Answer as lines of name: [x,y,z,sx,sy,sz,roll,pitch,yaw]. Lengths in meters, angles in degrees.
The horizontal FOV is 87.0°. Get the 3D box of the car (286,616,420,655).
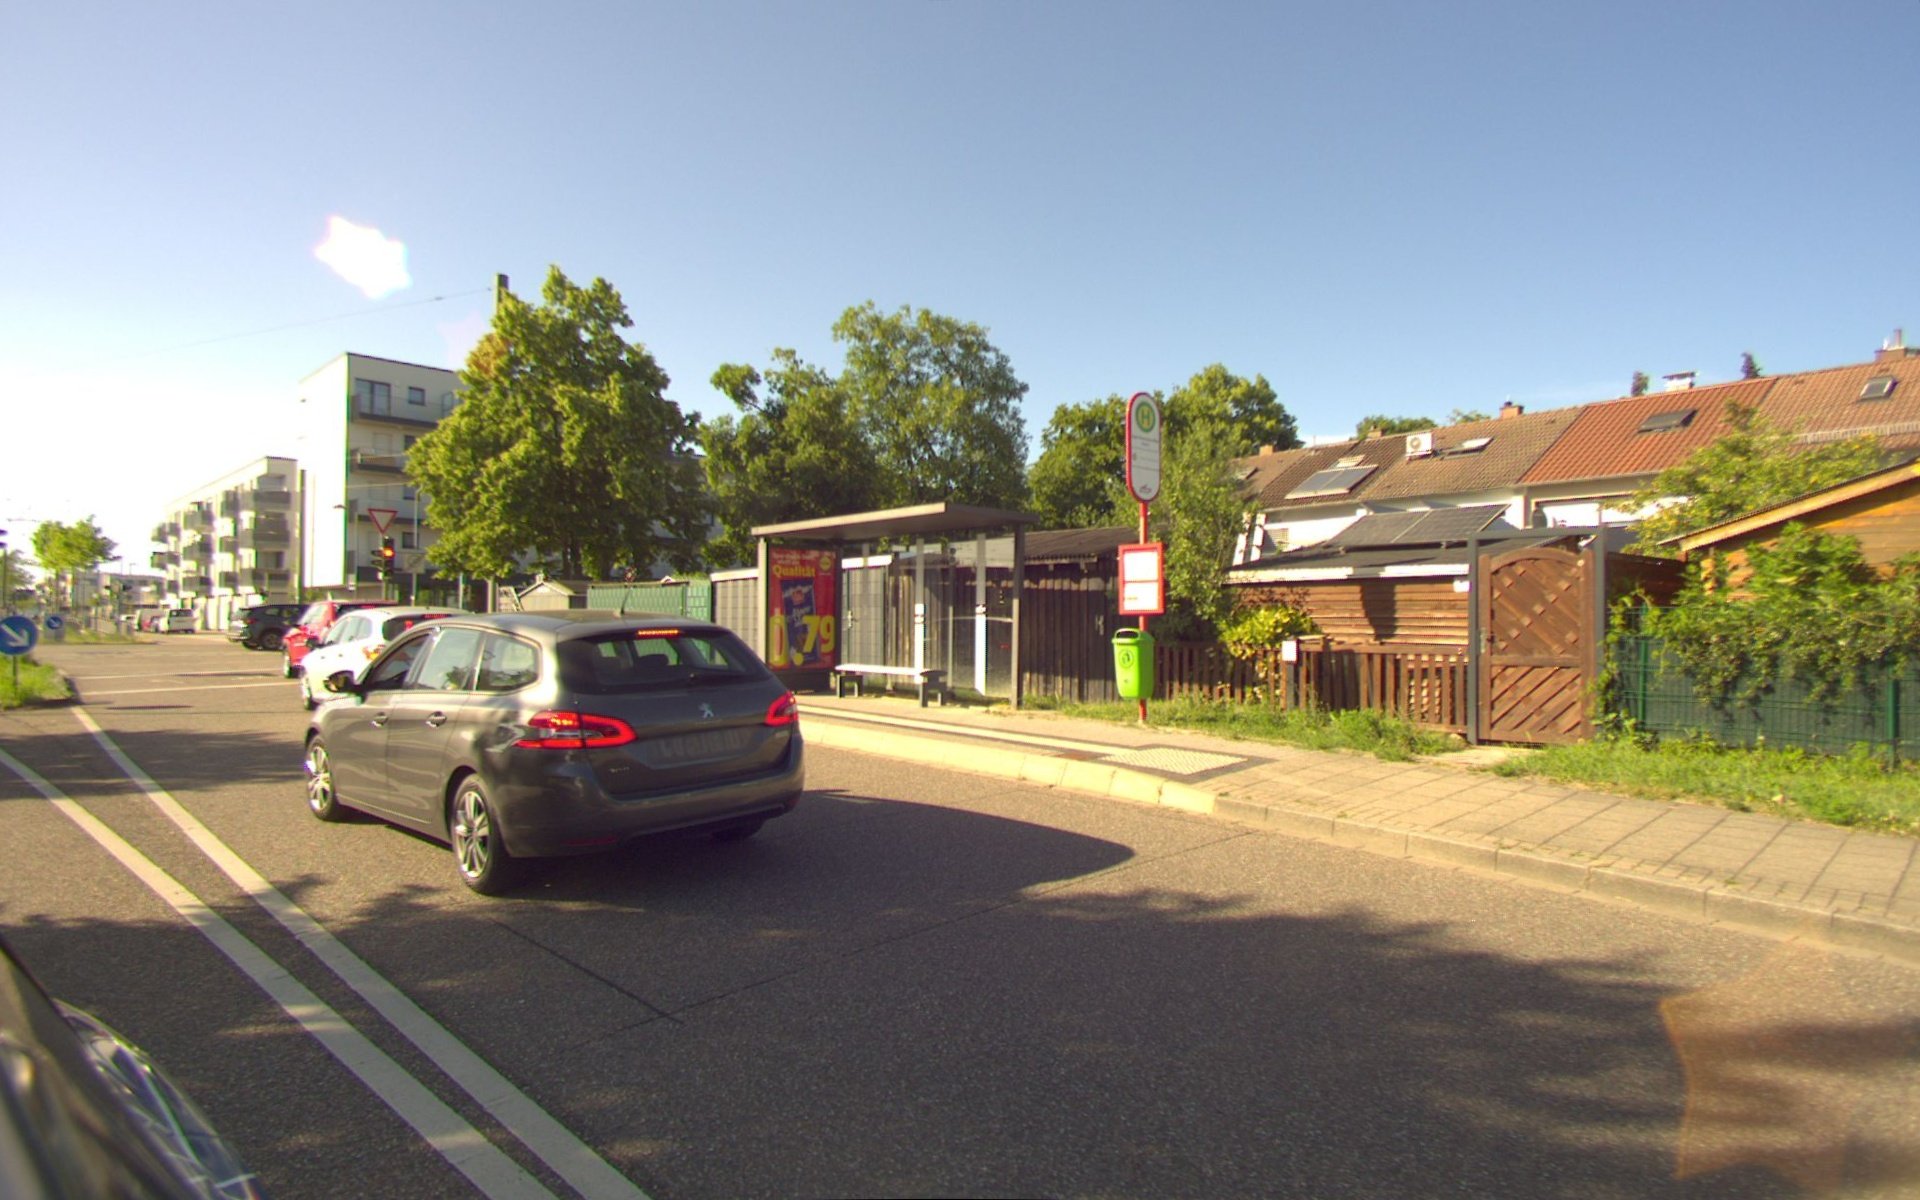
car: [-28.627,1.666,47.854,2.001,1.751,5.123,-2,-2,44]

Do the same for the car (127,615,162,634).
car: [-72.612,2.180,90.103,1.971,1.565,4.003,2,0,-45]

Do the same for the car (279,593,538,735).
car: [-7.679,0.749,13.864,2.182,1.603,4.541,1,-1,-41]

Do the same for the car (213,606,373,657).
car: [-23.794,1.125,36.248,1.996,1.685,4.354,1,-1,36]

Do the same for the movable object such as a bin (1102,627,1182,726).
movable object such as a bin: [1.931,0.792,10.754,0.586,0.975,0.559,-4,2,-43]

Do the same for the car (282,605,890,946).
car: [-2.699,0.791,6.645,4.451,1.454,1.972,-1,0,43]

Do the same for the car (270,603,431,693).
car: [-12.214,0.890,20.167,1.917,1.601,4.185,1,-1,-43]

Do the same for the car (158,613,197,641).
car: [-60.940,2.087,78.823,1.970,2.029,4.004,2,0,-44]
